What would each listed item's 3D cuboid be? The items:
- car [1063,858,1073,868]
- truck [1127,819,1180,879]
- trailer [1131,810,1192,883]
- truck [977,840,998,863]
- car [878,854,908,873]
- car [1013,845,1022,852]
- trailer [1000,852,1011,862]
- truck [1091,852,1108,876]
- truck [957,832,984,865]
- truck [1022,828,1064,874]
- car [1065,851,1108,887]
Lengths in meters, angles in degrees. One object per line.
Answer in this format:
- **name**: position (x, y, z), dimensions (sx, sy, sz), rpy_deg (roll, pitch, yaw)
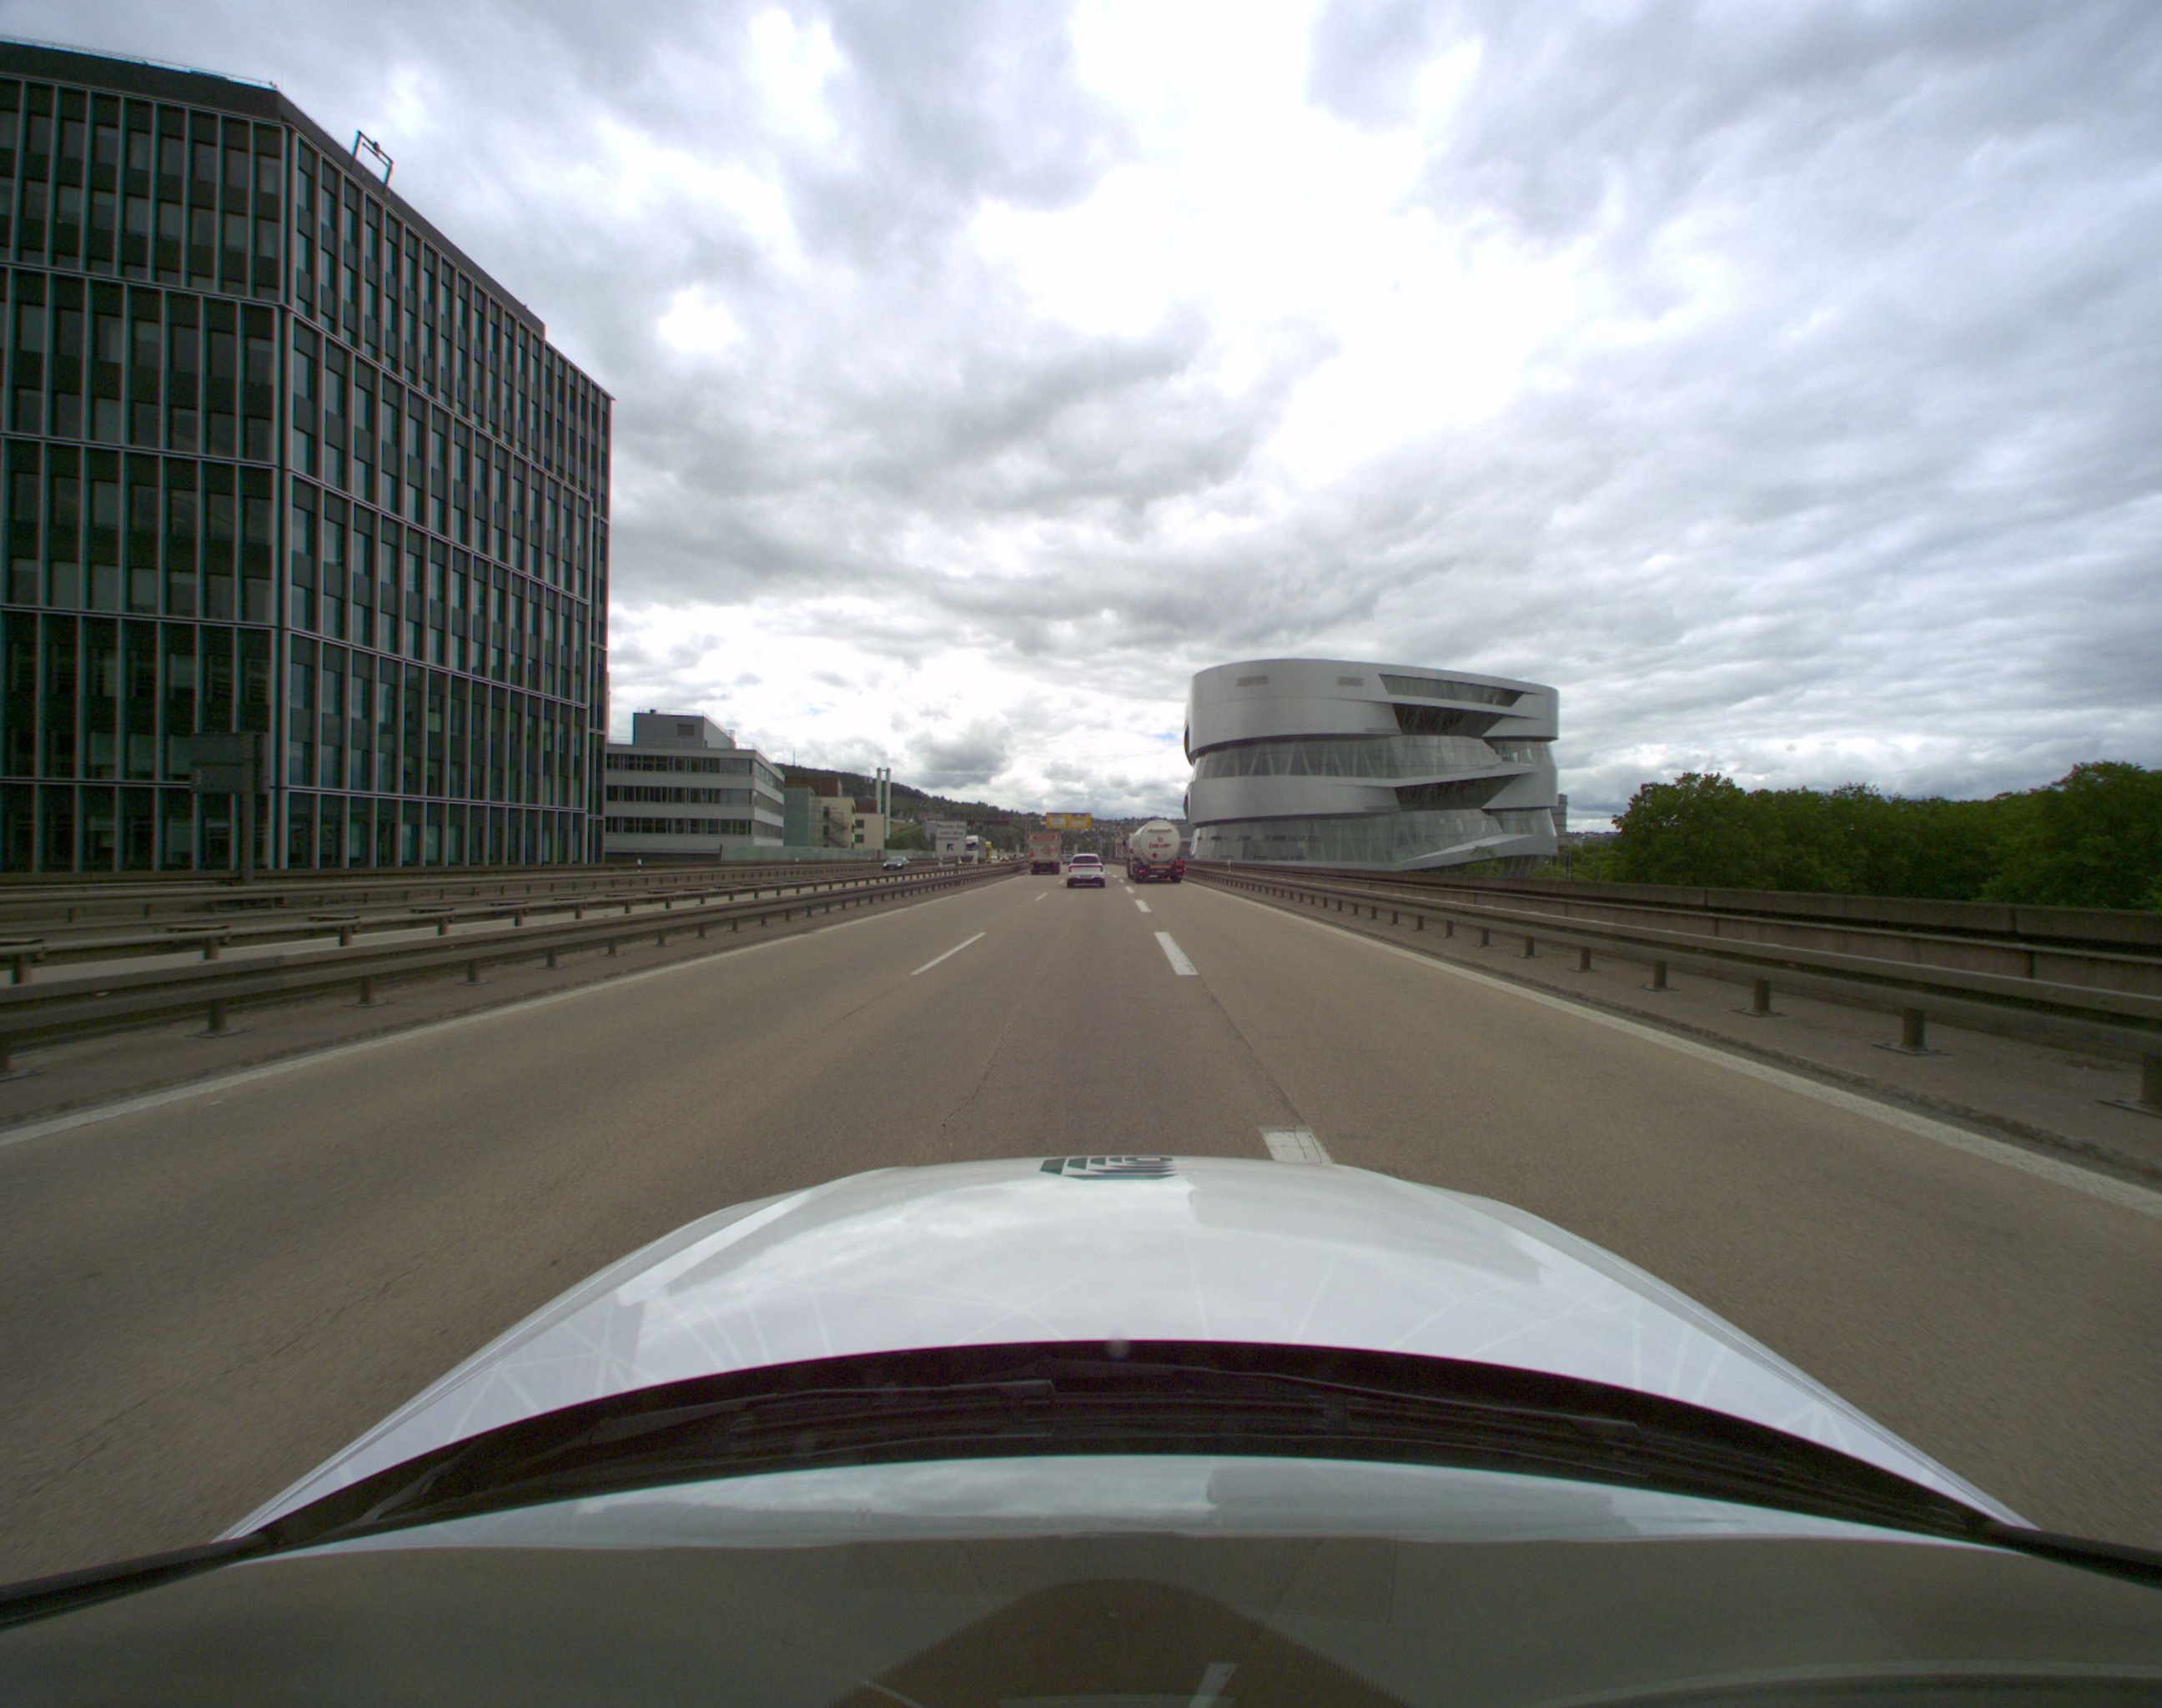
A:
- **car**: position (-2.207, 1.587, 139.261), dimensions (1.678, 1.650, 4.358), rpy_deg (0, -1, -1)
- **truck**: position (4.655, -0.250, 53.285), dimensions (3.003, 3.657, 6.275), rpy_deg (-1, -1, 1)
- **trailer**: position (4.489, -0.344, 47.029), dimensions (3.044, 3.790, 8.309), rpy_deg (-1, -1, 3)
- **truck**: position (-17.671, -0.427, 154.422), dimensions (3.049, 4.065, 11.845), rpy_deg (-1, -1, -2)
- **car**: position (-17.178, 0.879, 74.607), dimensions (1.678, 1.650, 4.358), rpy_deg (0, -1, -1)
- **car**: position (-15.610, -1.309, 200.351), dimensions (1.989, 1.606, 4.801), rpy_deg (-1, -1, -4)
- **trailer**: position (-16.524, 0.651, 178.912), dimensions (1.988, 2.014, 3.998), rpy_deg (-1, -1, -1)
- **truck**: position (3.552, 1.922, 159.655), dimensions (3.048, 4.562, 8.299), rpy_deg (-1, -1, -1)
- **truck**: position (-14.208, -0.634, 105.002), dimensions (2.764, 4.079, 5.643), rpy_deg (-1, -1, -1)
- **truck**: position (-3.216, -0.205, 71.096), dimensions (3.046, 3.691, 8.305), rpy_deg (-1, -1, 1)
- **car**: position (0.333, 0.739, 41.170), dimensions (1.986, 1.675, 4.410), rpy_deg (-1, -1, 2)
